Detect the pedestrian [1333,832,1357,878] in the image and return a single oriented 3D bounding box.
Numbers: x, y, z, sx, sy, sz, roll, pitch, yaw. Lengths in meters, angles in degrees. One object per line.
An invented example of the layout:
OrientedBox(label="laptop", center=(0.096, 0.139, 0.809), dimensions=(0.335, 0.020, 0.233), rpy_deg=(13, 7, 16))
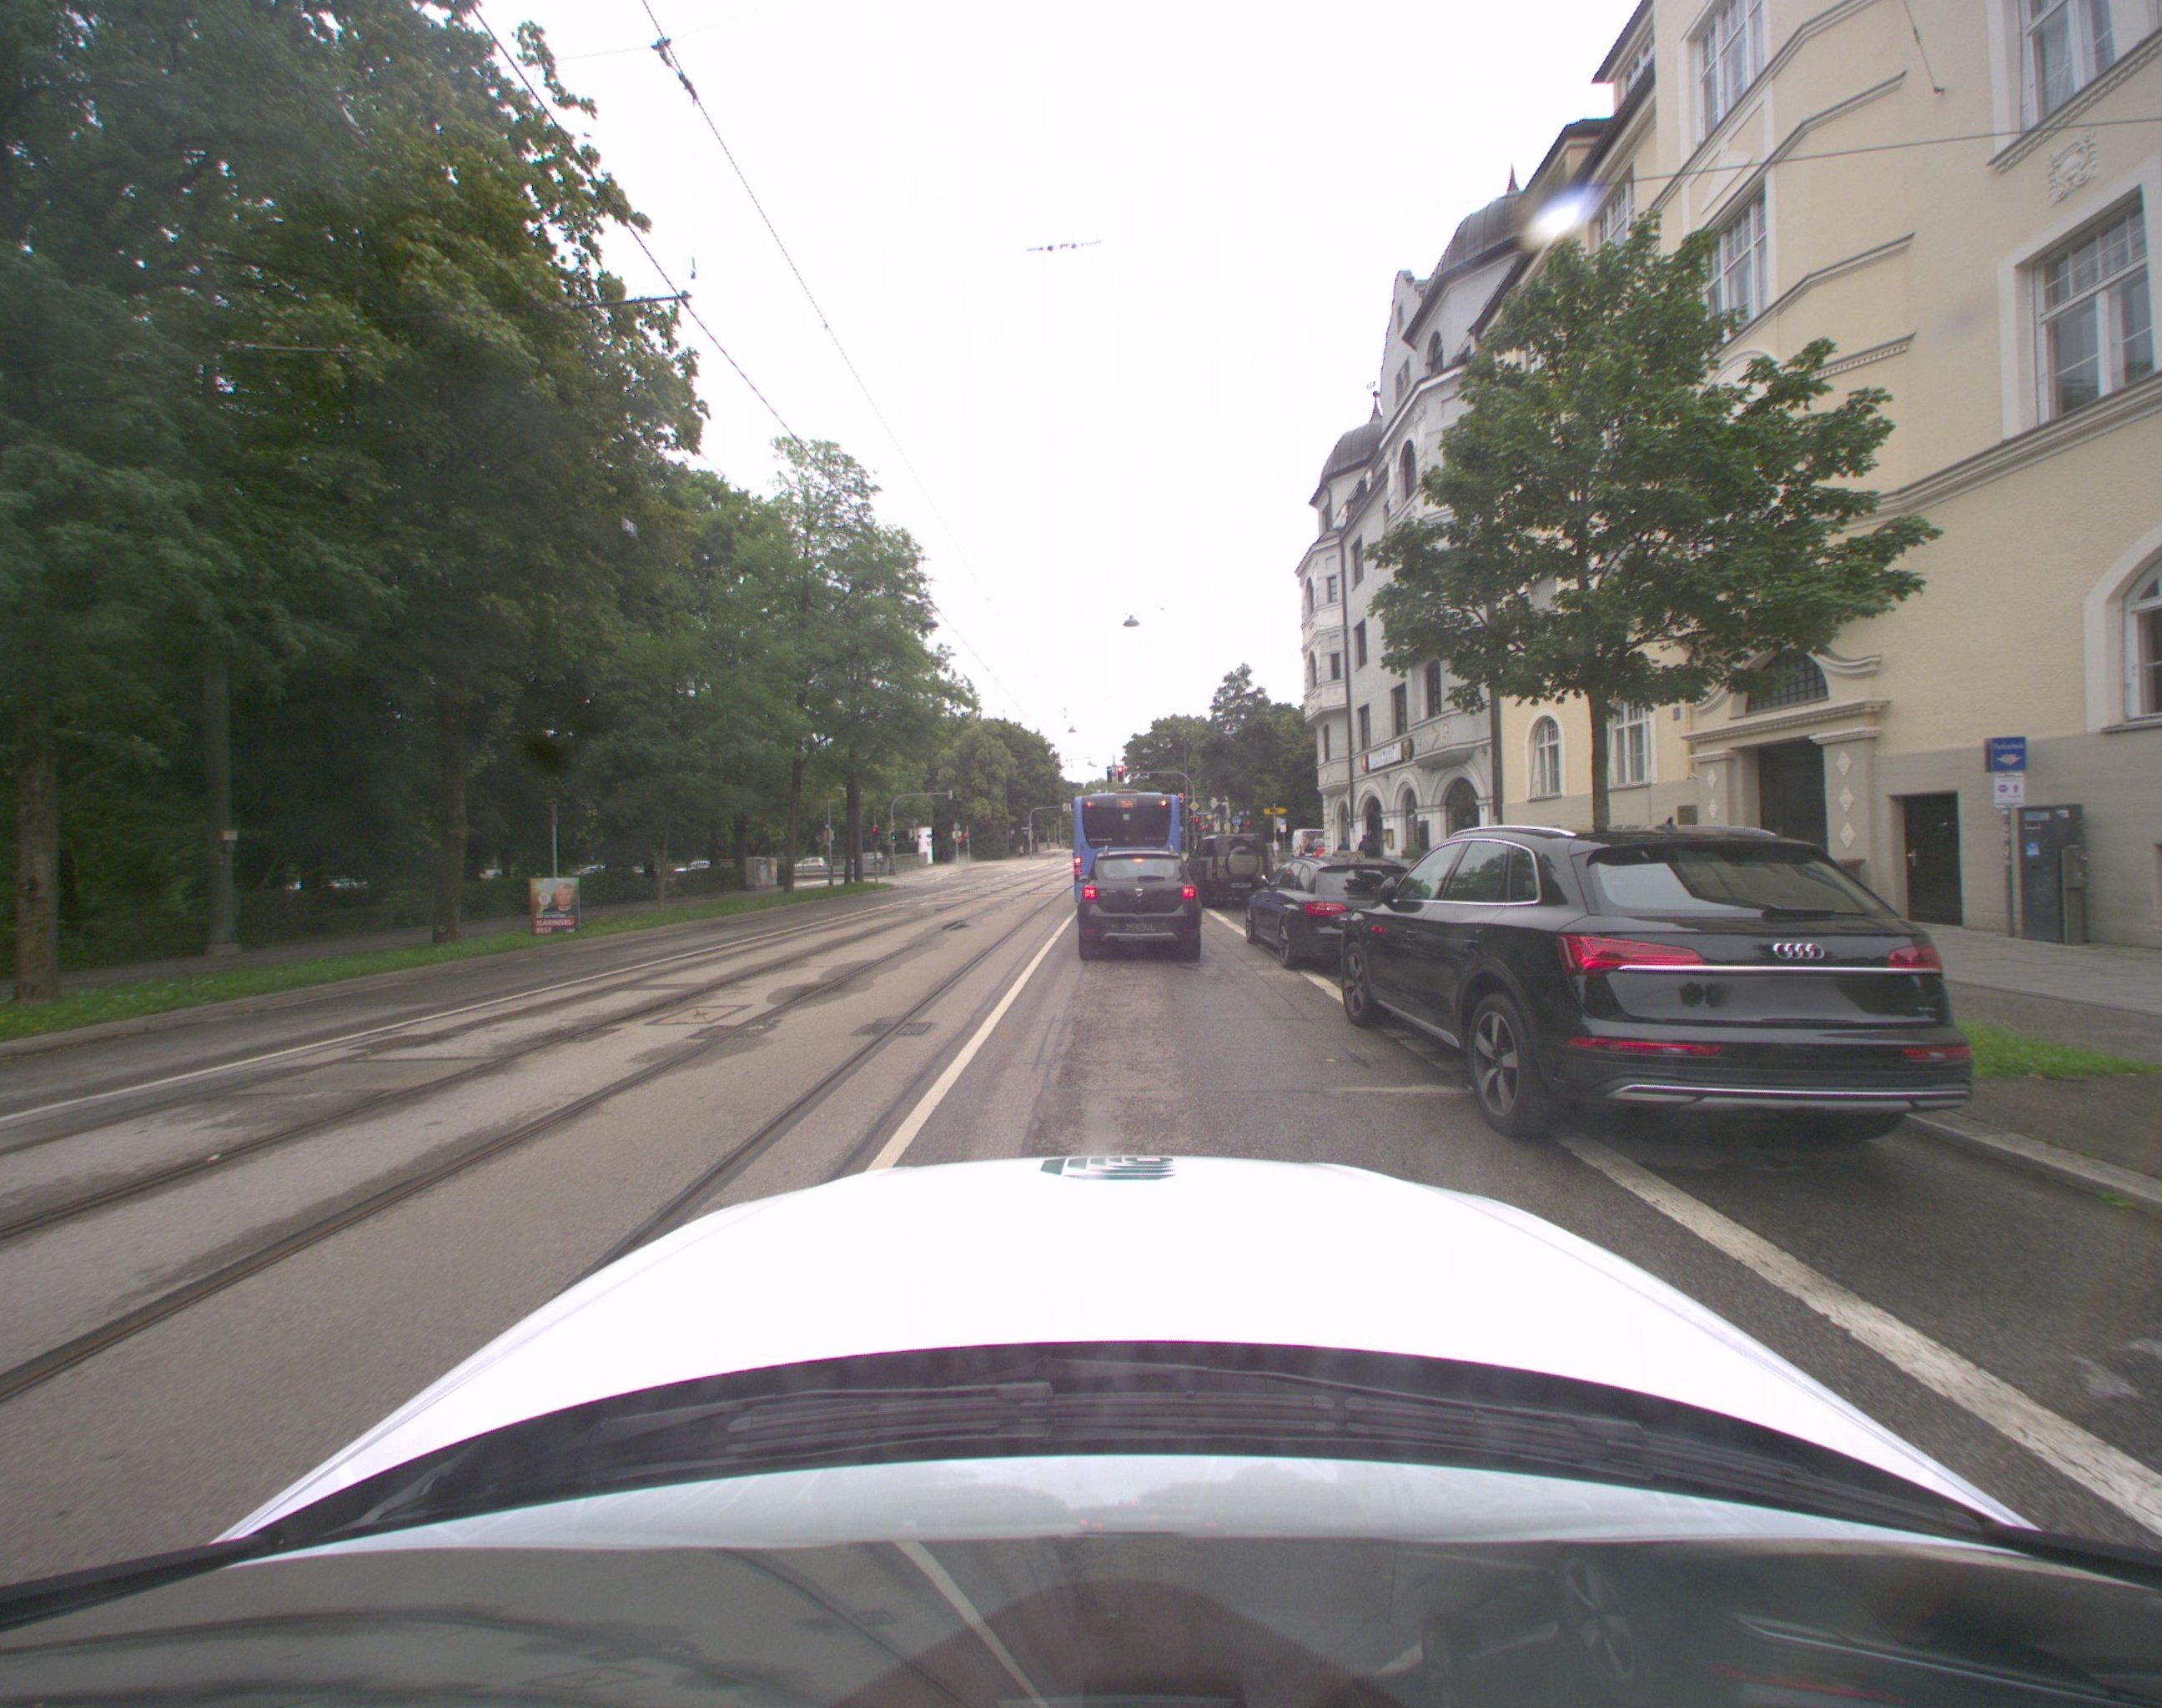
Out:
OrientedBox(label="pedestrian", center=(10.528, 0.037, 32.532), dimensions=(0.702, 1.816, 0.870), rpy_deg=(0, 0, 3))

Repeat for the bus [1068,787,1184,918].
OrientedBox(label="bus", center=(1.106, -0.046, 22.184), dimensions=(2.669, 2.997, 6.962), rpy_deg=(0, 0, 1))

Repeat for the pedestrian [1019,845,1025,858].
OrientedBox(label="pedestrian", center=(-6.952, -0.308, 96.288), dimensions=(0.529, 1.501, 0.589), rpy_deg=(0, 0, 7))

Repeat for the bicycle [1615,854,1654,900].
OrientedBox(label="bicycle", center=(11.529, 0.475, 16.979), dimensions=(0.220, 0.930, 0.886), rpy_deg=(0, 0, 2))

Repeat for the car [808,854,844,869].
OrientedBox(label="car", center=(-25.044, 0.762, 79.938), dimensions=(3.102, 1.452, 1.249), rpy_deg=(0, 0, -3))

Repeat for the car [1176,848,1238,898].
OrientedBox(label="car", center=(4.254, 0.595, 28.045), dimensions=(1.707, 1.591, 4.331), rpy_deg=(0, 0, 3))

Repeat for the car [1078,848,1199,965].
OrientedBox(label="car", center=(0.839, 0.704, 12.608), dimensions=(1.594, 1.556, 3.527), rpy_deg=(0, 0, 2))

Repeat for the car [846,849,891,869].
OrientedBox(label="car", center=(-20.899, 0.506, 80.122), dimensions=(4.014, 1.887, 1.488), rpy_deg=(0, 0, -4))

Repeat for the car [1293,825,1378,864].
OrientedBox(label="car", center=(17.669, -0.657, 56.754), dimensions=(5.279, 2.612, 2.230), rpy_deg=(0, 0, -1))

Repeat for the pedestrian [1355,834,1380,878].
OrientedBox(label="pedestrian", center=(11.436, 0.068, 32.512), dimensions=(0.702, 1.732, 0.843), rpy_deg=(0, 0, 3))

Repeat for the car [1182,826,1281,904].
OrientedBox(label="car", center=(3.989, 0.278, 22.353), dimensions=(1.907, 1.905, 4.808), rpy_deg=(0, 0, 1))

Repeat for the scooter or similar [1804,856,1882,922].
OrientedBox(label="scooter or similar", center=(11.312, 0.508, 12.106), dimensions=(0.658, 0.946, 0.547), rpy_deg=(0, 0, 4))

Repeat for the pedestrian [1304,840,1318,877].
OrientedBox(label="pedestrian", center=(12.452, 0.233, 44.105), dimensions=(0.668, 2.013, 0.718), rpy_deg=(0, 0, 11))

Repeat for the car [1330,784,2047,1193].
OrientedBox(label="car", center=(3.161, 0.551, 5.582), dimensions=(1.767, 1.658, 4.492), rpy_deg=(-1, 0, 3))

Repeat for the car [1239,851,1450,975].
OrientedBox(label="car", center=(3.484, 0.677, 11.695), dimensions=(1.709, 1.426, 4.605), rpy_deg=(0, 0, 2))

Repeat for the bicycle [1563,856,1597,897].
OrientedBox(label="bicycle", center=(11.577, 0.517, 18.909), dimensions=(0.284, 0.930, 0.887), rpy_deg=(0, 0, 4))

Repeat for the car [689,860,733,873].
OrientedBox(label="car", center=(-36.234, 1.227, 79.751), dimensions=(3.719, 1.185, 1.249), rpy_deg=(0, 0, -3))

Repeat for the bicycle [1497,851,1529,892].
OrientedBox(label="bicycle", center=(11.444, 0.447, 21.597), dimensions=(0.241, 1.039, 1.224), rpy_deg=(0, 0, 3))
